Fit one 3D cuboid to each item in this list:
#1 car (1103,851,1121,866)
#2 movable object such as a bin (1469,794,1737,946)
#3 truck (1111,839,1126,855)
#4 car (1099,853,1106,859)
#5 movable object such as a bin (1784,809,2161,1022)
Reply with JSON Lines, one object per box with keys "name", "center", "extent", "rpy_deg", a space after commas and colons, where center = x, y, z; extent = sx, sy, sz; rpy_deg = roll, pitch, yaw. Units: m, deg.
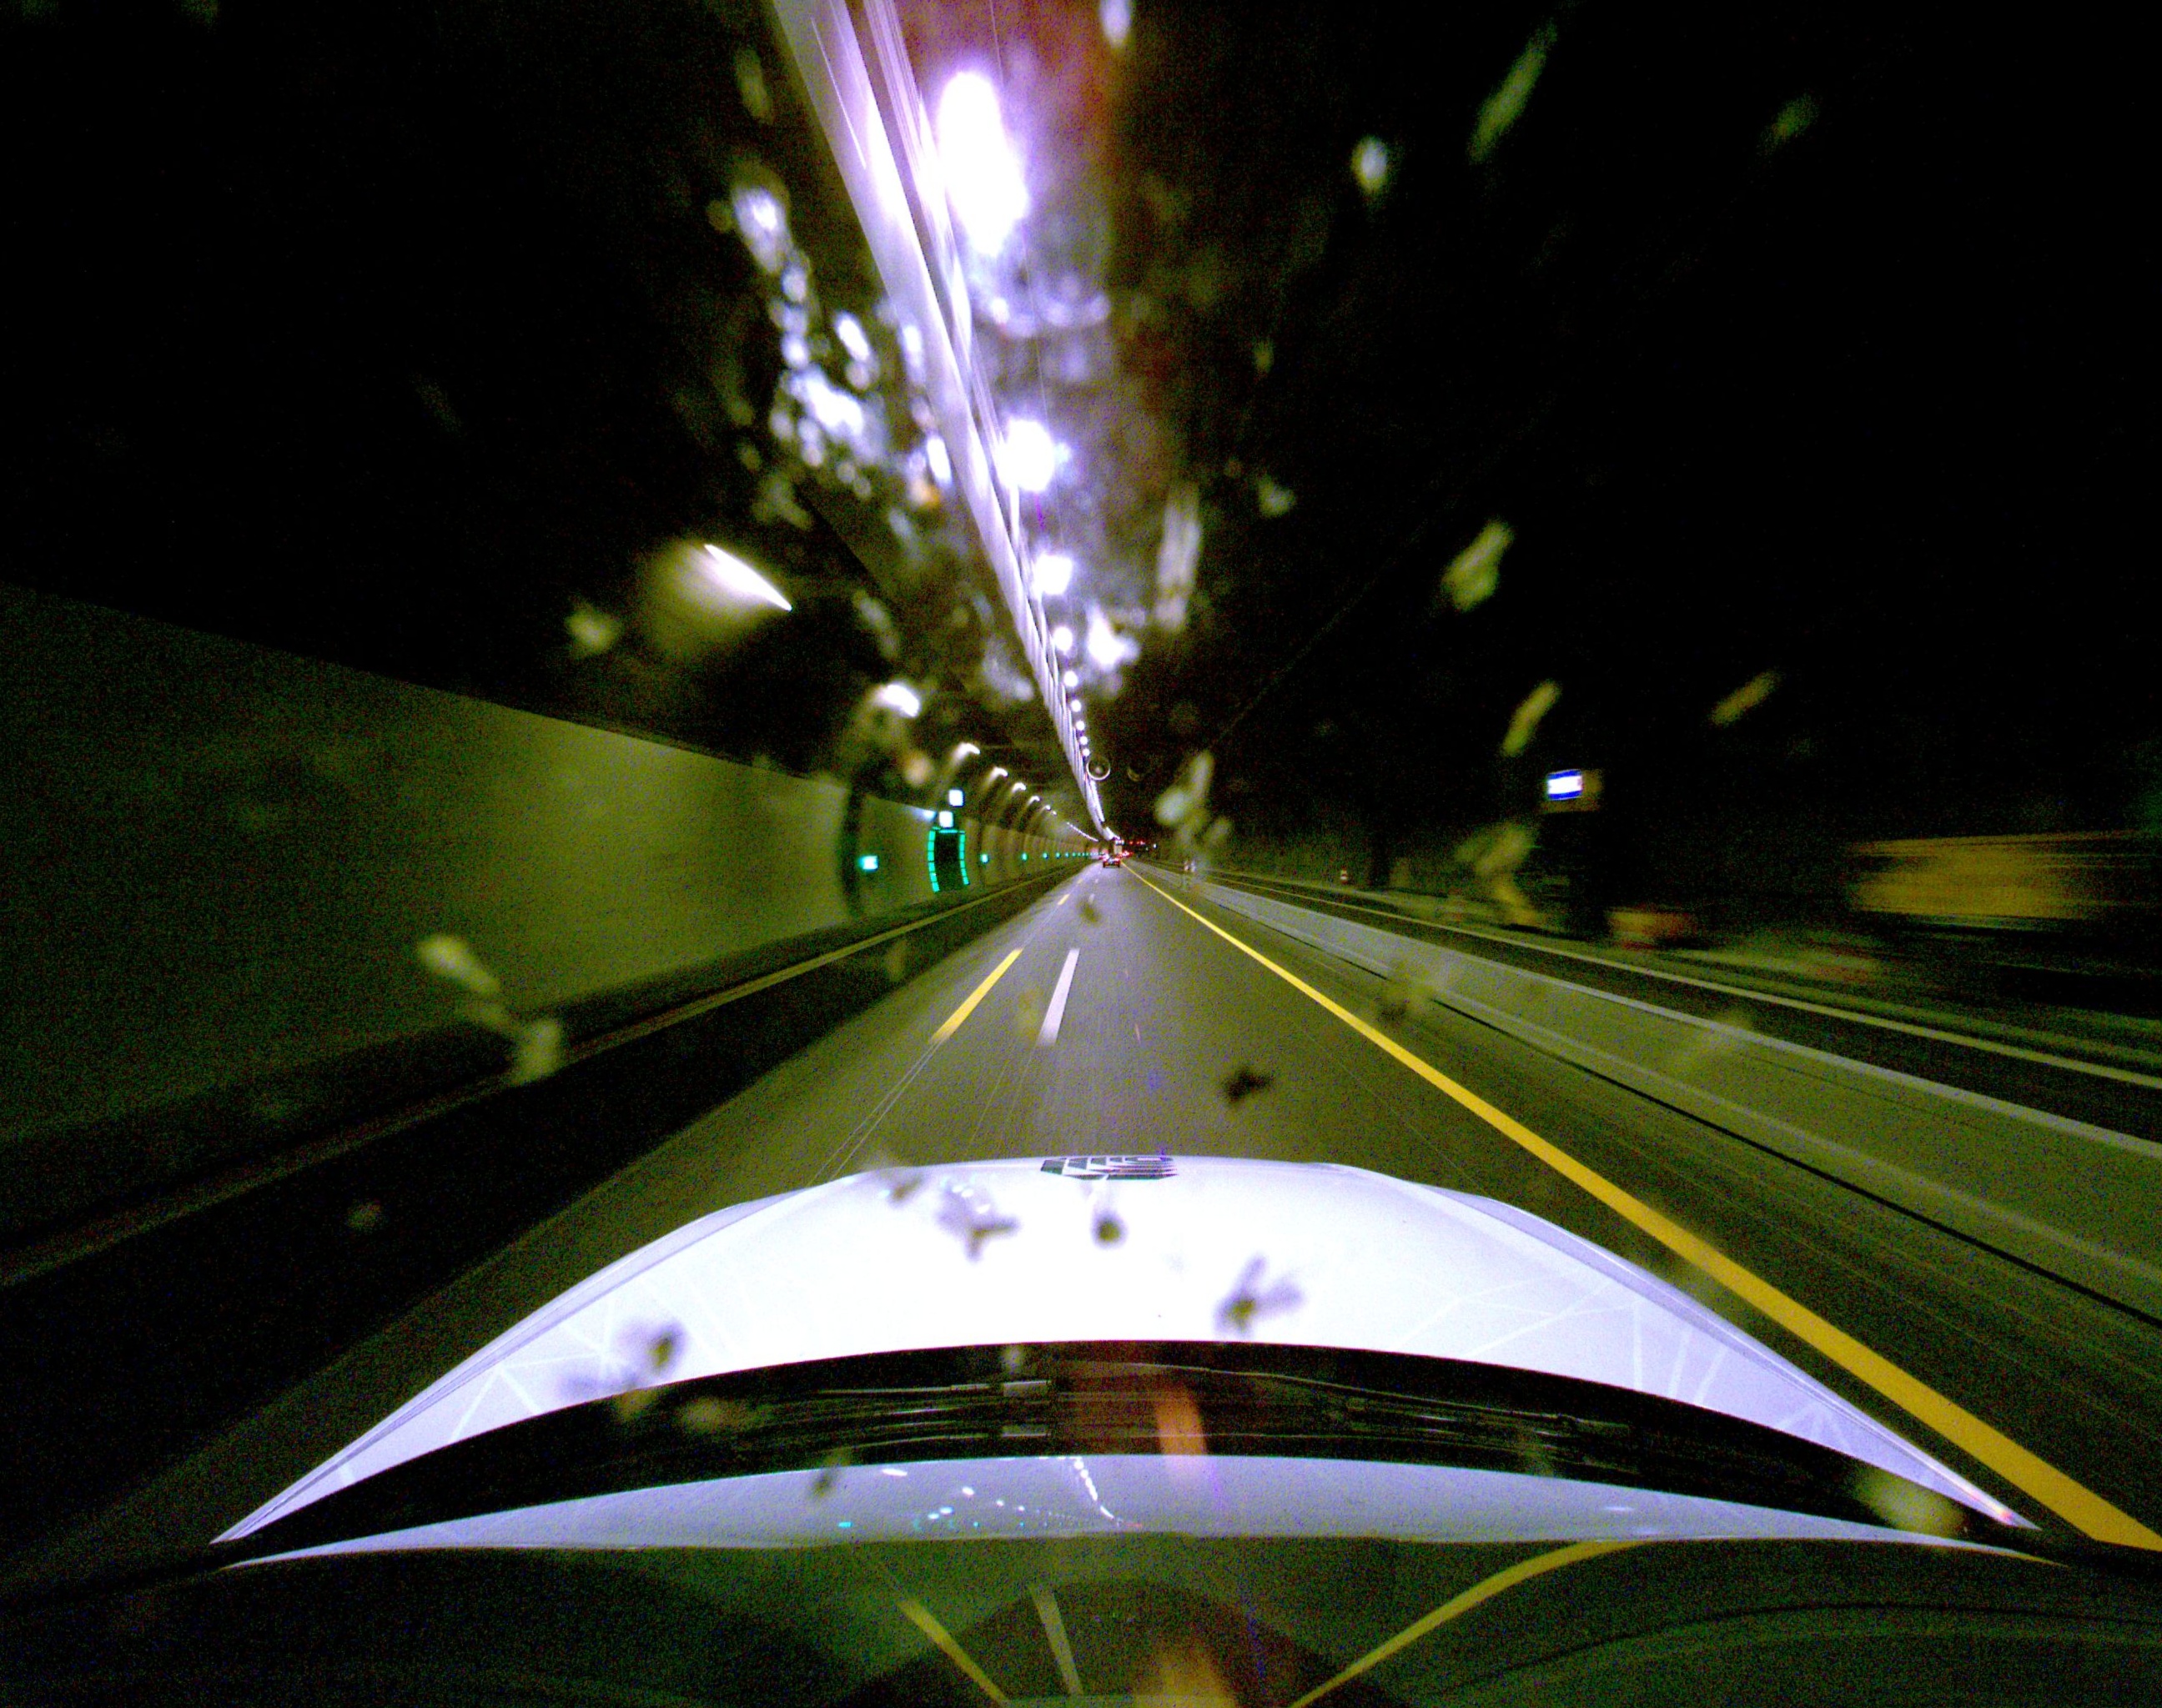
{"name": "car", "center": [3.298, 0.507, 87.026], "extent": [1.881, 1.607, 4.001], "rpy_deg": [0, 0, 1]}
{"name": "movable object such as a bin", "center": [8.494, 0.245, 13.838], "extent": [1.677, 2.145, 4.629], "rpy_deg": [0, 0, 1]}
{"name": "truck", "center": [12.121, -2.090, 261.627], "extent": [4.526, 4.987, 9.609], "rpy_deg": [0, 0, 4]}
{"name": "car", "center": [5.284, 0.517, 200.870], "extent": [1.820, 1.607, 4.001], "rpy_deg": [0, 0, 1]}
{"name": "movable object such as a bin", "center": [9.021, 0.500, 8.059], "extent": [1.550, 1.709, 3.055], "rpy_deg": [0, 0, 1]}
